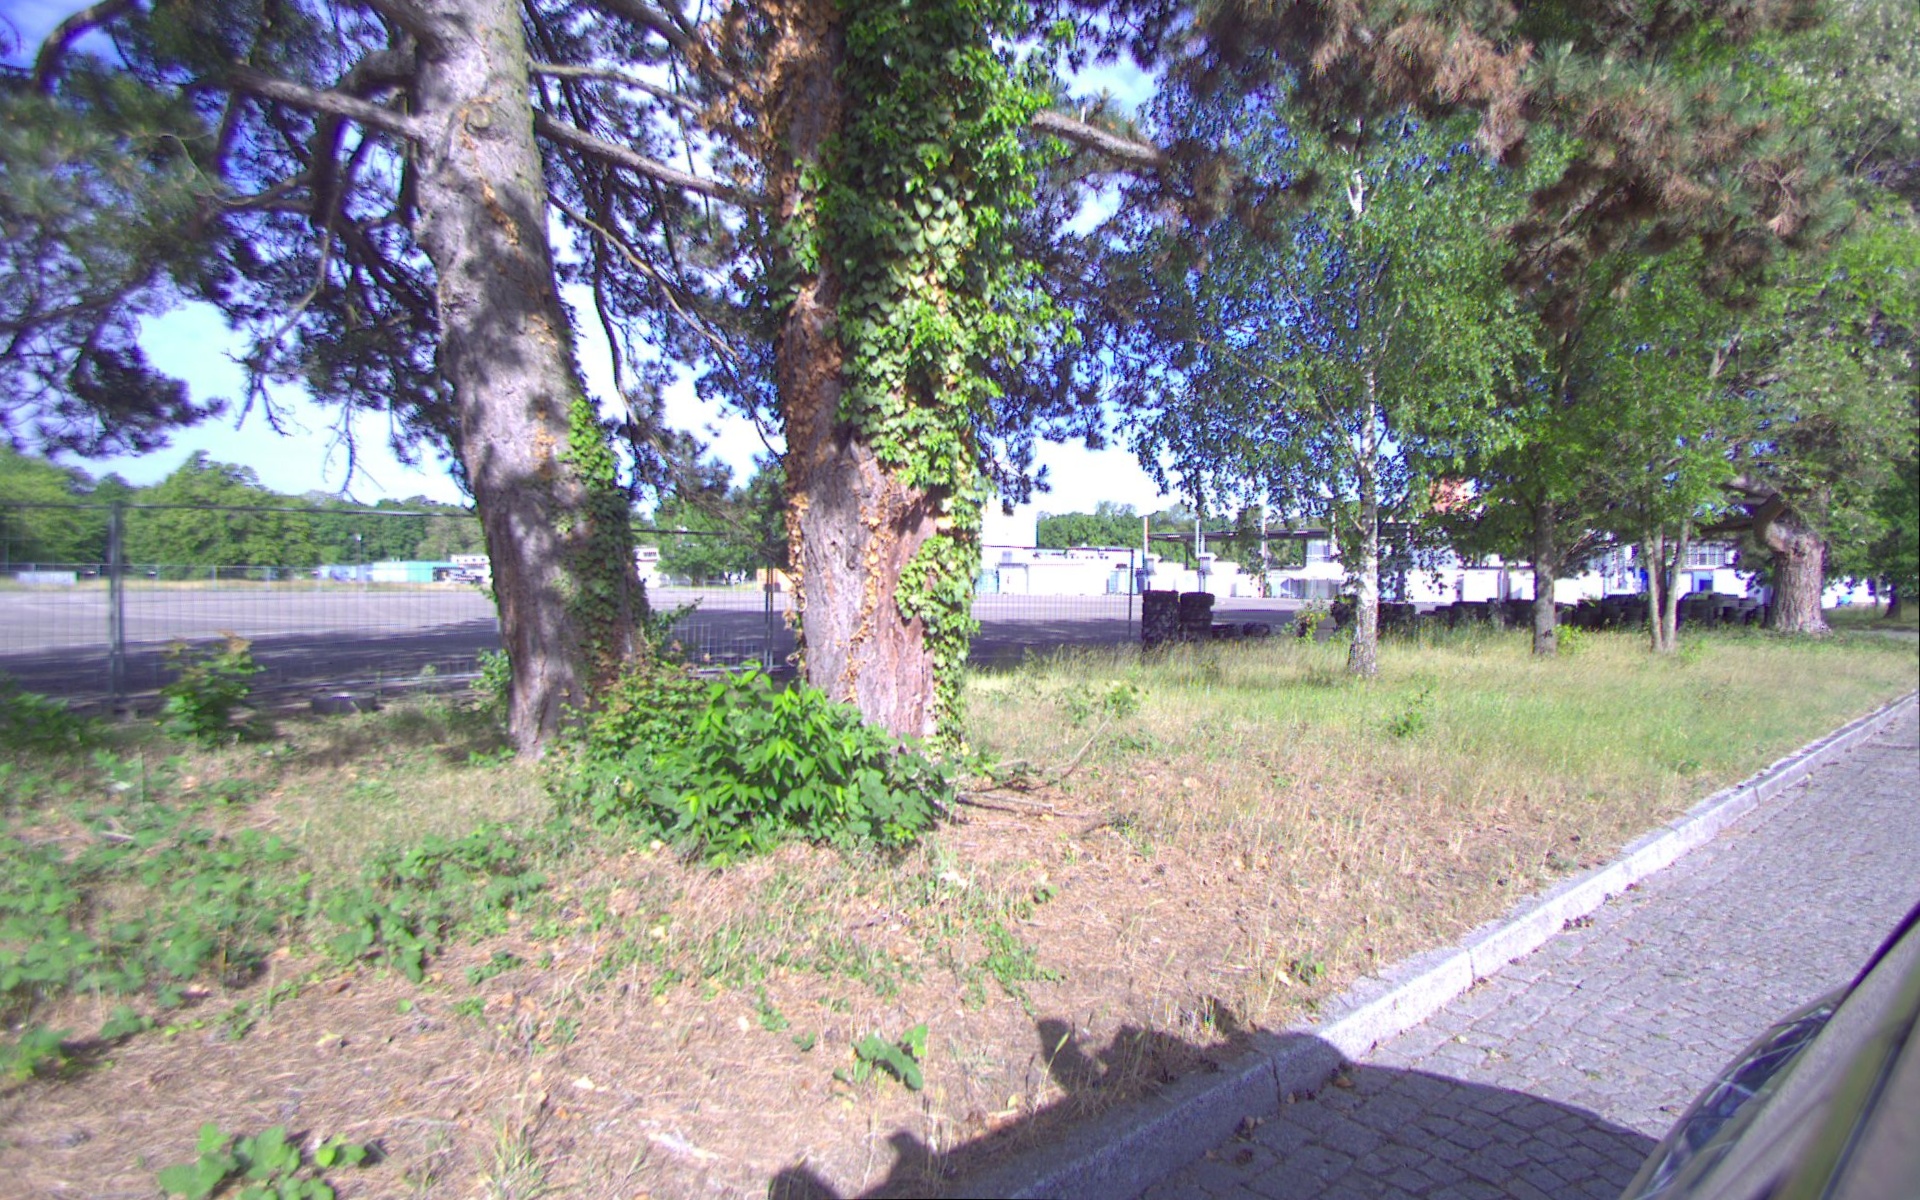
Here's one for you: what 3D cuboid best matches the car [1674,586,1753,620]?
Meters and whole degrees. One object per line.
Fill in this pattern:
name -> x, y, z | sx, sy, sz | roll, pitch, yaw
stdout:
car -> 35.016, 0.122, 47.013 | 3.924, 1.467, 1.848 | 0, 1, -36
